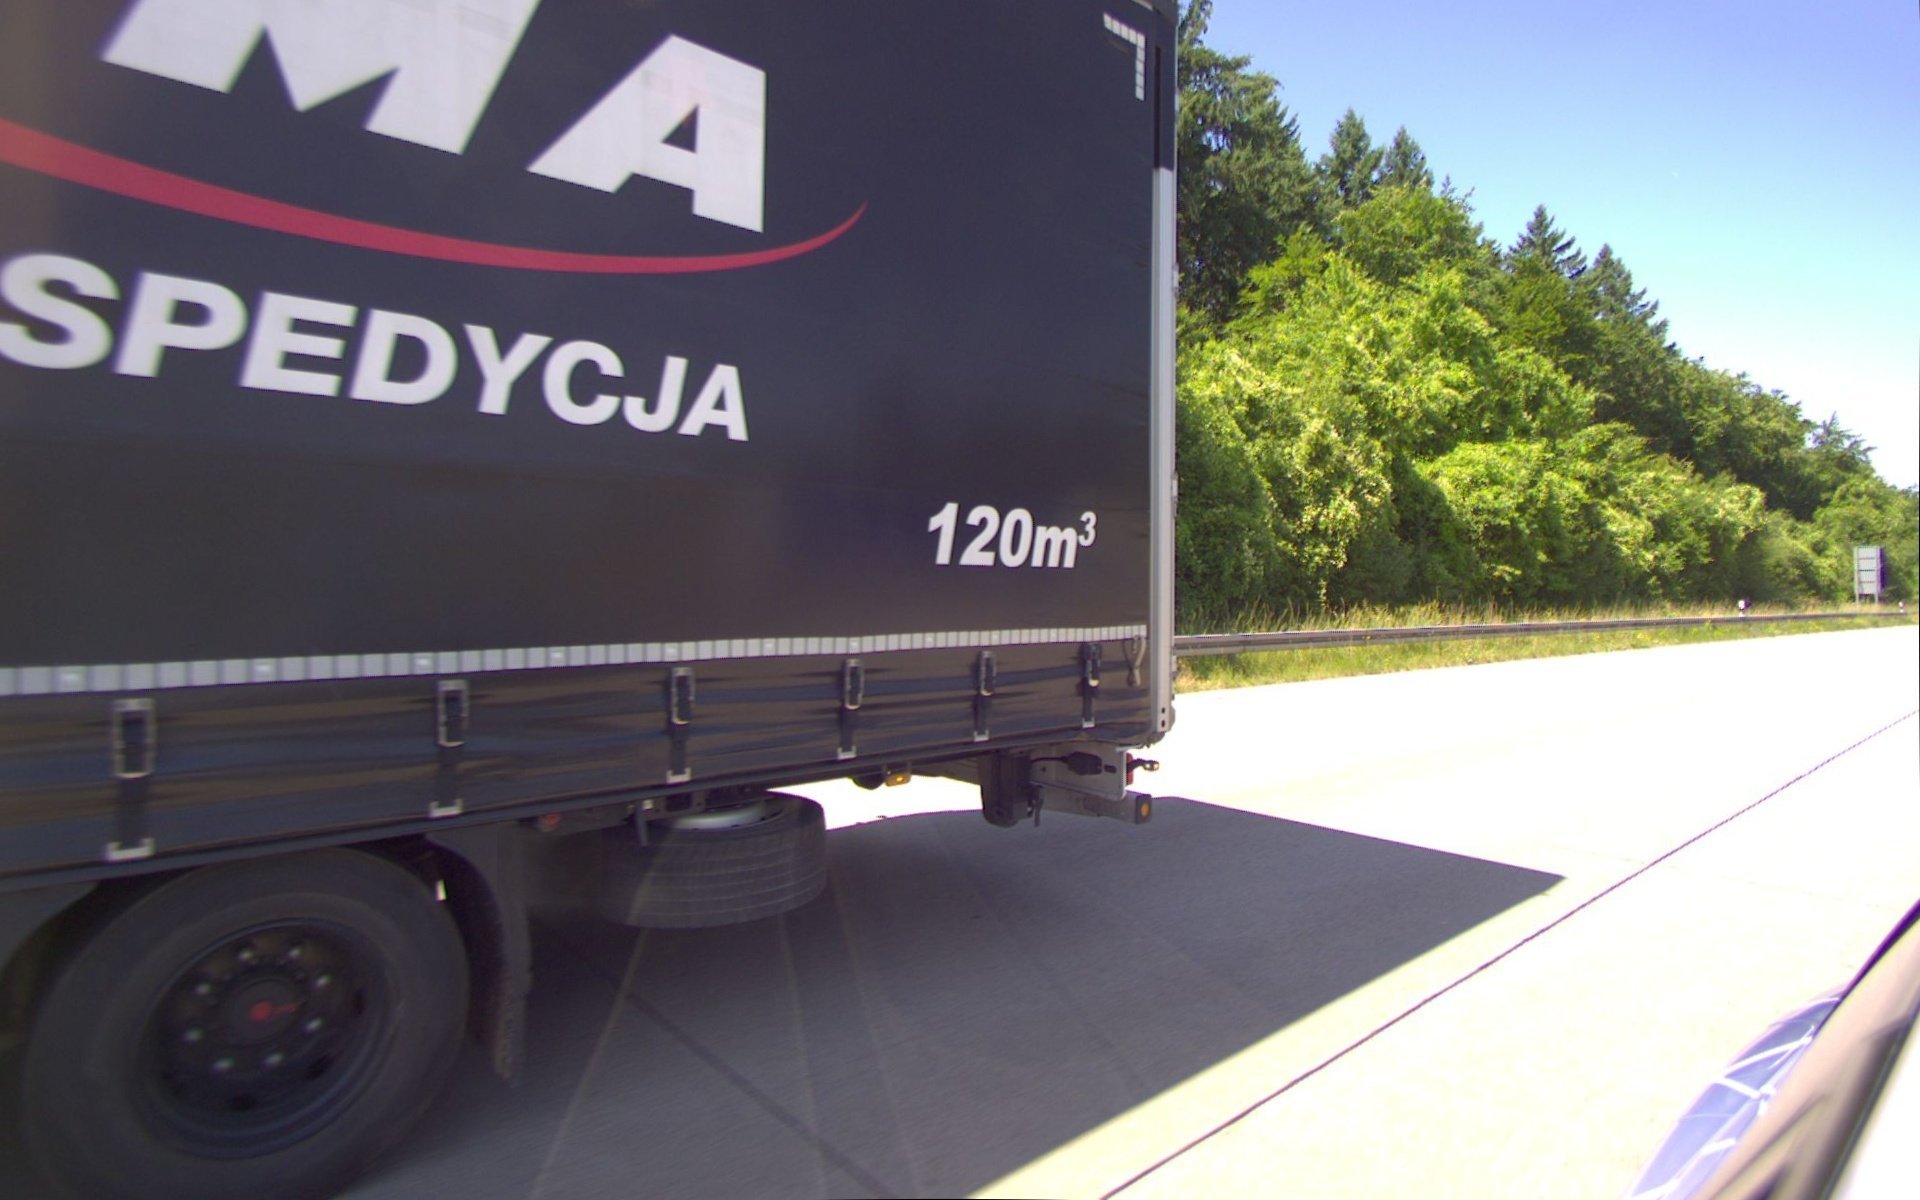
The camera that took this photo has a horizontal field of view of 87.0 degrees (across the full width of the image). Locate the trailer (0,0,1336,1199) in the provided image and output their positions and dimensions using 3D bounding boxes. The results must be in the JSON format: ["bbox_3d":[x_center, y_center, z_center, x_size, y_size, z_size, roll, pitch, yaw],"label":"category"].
[{"bbox_3d":[-2.619,-0.696,3.014,8.929,4.067,3.140,0,0,-41],"label":"trailer"}]
